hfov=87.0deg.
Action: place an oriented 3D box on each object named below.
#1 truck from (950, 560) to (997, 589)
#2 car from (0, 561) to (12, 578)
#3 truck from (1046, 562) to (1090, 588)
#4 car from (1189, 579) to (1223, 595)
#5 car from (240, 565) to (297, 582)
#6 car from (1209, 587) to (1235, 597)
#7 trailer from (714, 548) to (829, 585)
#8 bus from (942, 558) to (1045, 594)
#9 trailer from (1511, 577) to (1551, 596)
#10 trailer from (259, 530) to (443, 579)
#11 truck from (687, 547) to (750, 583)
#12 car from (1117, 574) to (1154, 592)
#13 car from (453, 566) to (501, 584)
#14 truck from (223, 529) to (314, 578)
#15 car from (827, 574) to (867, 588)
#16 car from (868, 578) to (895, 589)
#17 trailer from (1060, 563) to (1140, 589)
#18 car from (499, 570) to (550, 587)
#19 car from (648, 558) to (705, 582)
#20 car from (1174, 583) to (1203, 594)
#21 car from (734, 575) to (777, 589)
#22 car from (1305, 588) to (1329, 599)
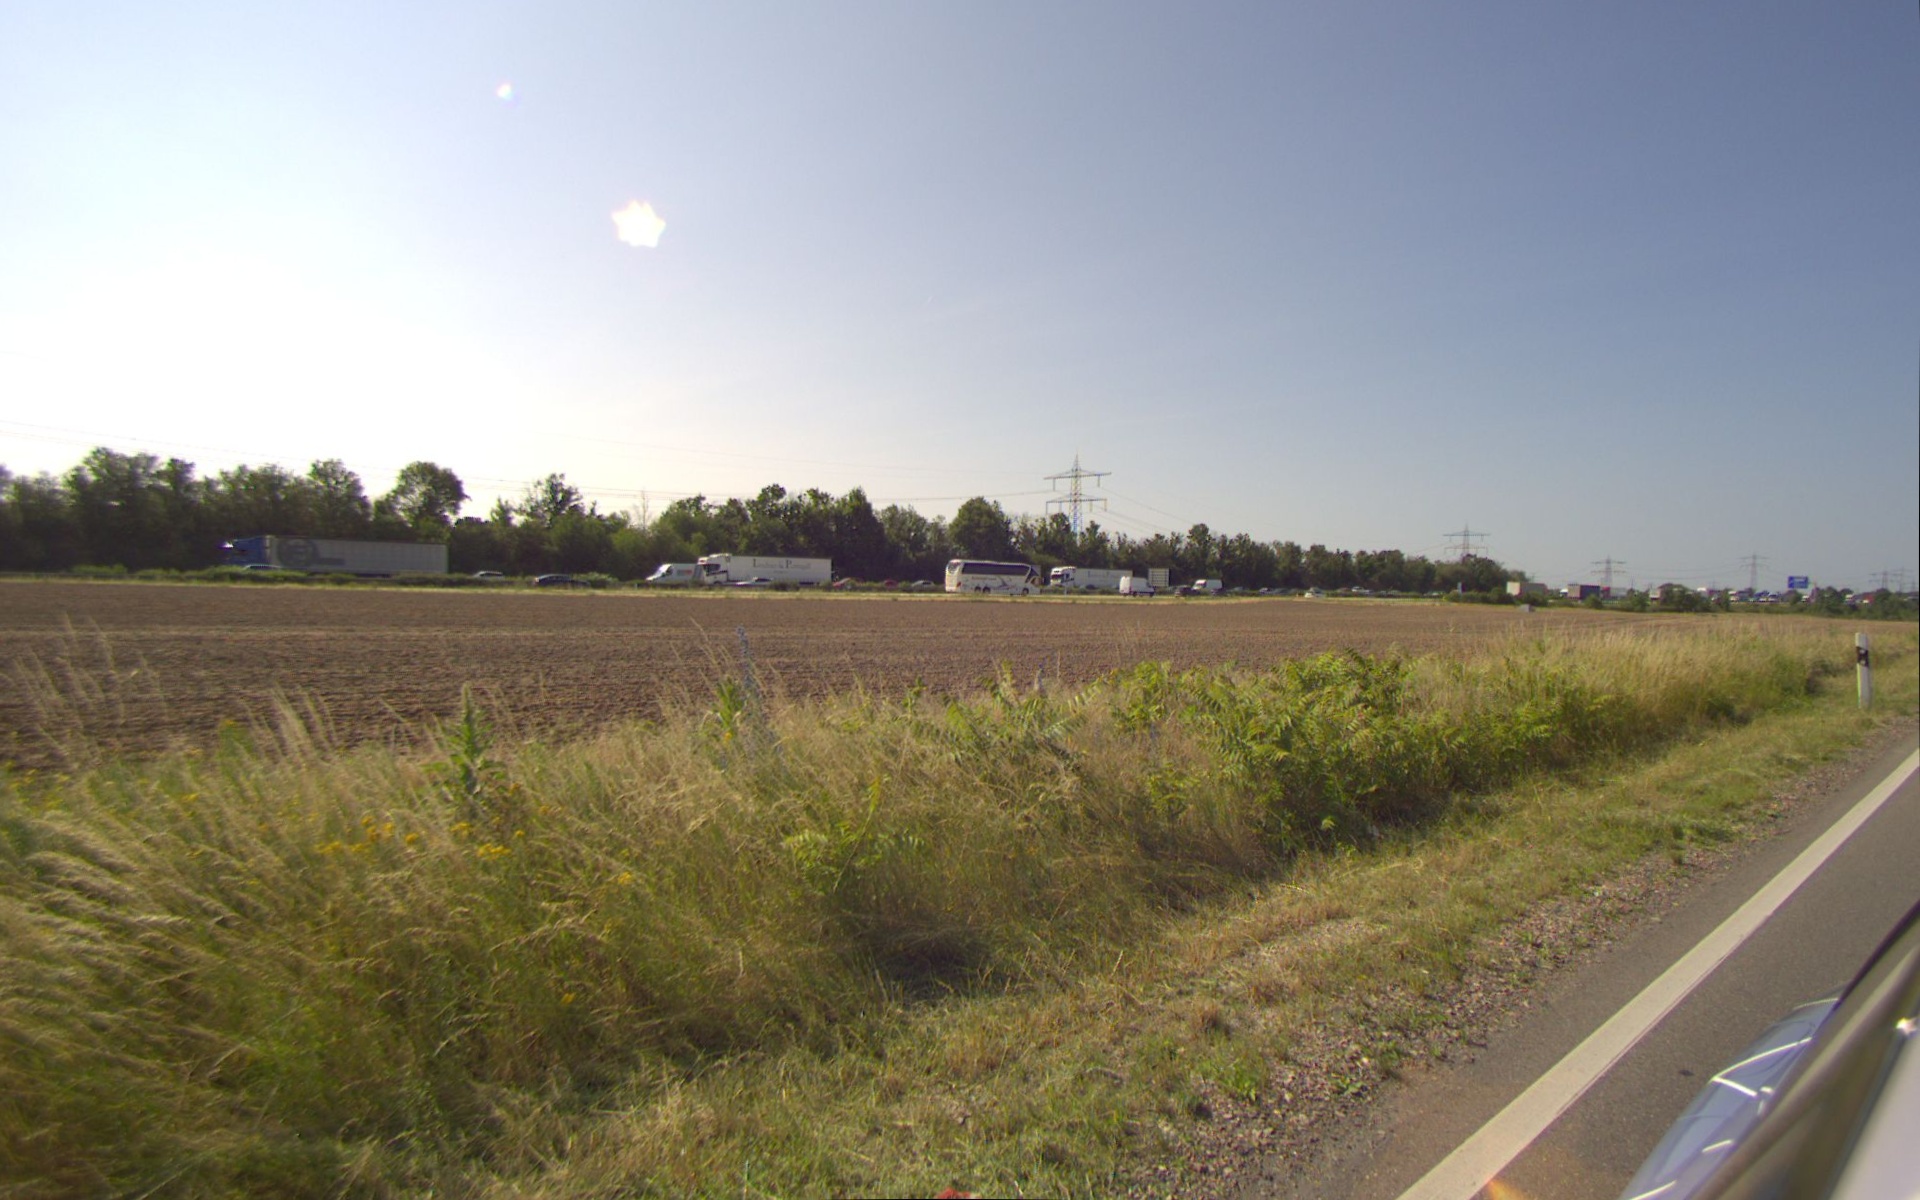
[{"bbox_3d":[1.805,-3.431,135.819,5.767,3.780,2.950,0,1,-41],"label":"truck"},{"bbox_3d":[-66.010,-2.086,68.093,3.126,1.166,1.397,1,0,-42],"label":"car"},{"bbox_3d":[15.855,-3.634,148.860,6.003,3.575,3.208,0,2,-42],"label":"truck"},{"bbox_3d":[39.730,-2.097,163.315,6.300,2.478,2.041,0,0,-41],"label":"car"},{"bbox_3d":[-53.511,-2.057,78.307,3.518,1.166,1.397,1,0,-41],"label":"car"},{"bbox_3d":[39.065,-1.220,150.933,4.022,1.391,1.706,0,0,-41],"label":"car"},{"bbox_3d":[-21.398,-3.762,115.757,13.130,3.780,3.078,0,1,-41],"label":"trailer"},{"bbox_3d":[4.118,-2.764,118.481,14.299,3.851,2.466,1,1,-43],"label":"bus"},{"bbox_3d":[122.007,-2.769,216.166,13.478,3.897,3.109,0,0,-41],"label":"trailer"},{"bbox_3d":[-52.847,-3.807,88.270,13.387,3.780,3.078,0,1,-40],"label":"trailer"},{"bbox_3d":[-26.540,-3.775,111.335,6.009,3.780,3.078,0,1,-40],"label":"truck"},{"bbox_3d":[23.933,-2.246,137.640,5.425,2.402,1.996,0,-1,-42],"label":"car"},{"bbox_3d":[-42.308,-2.189,88.649,3.540,1.403,1.493,1,-1,-42],"label":"car"},{"bbox_3d":[-57.562,-3.817,84.307,5.979,3.780,3.078,0,1,-40],"label":"truck"},{"bbox_3d":[-12.961,-2.164,116.237,4.174,1.403,1.853,1,0,-42],"label":"car"},{"bbox_3d":[-9.833,-2.053,126.730,3.235,1.234,1.342,0,0,-42],"label":"car"},{"bbox_3d":[21.441,-3.609,153.867,14.823,3.575,3.208,0,2,-42],"label":"trailer"},{"bbox_3d":[-35.730,-1.755,83.033,3.556,1.250,1.548,1,-2,-42],"label":"car"},{"bbox_3d":[-28.326,-2.939,101.267,5.147,2.228,1.908,1,-1,-42],"label":"car"},{"bbox_3d":[31.087,-1.562,137.794,4.136,1.492,1.706,0,0,-41],"label":"car"},{"bbox_3d":[-21.870,-1.908,108.274,4.174,1.403,1.853,1,0,-42],"label":"car"},{"bbox_3d":[56.440,-1.039,160.010,4.124,1.562,1.705,-2,1,-41],"label":"car"}]
